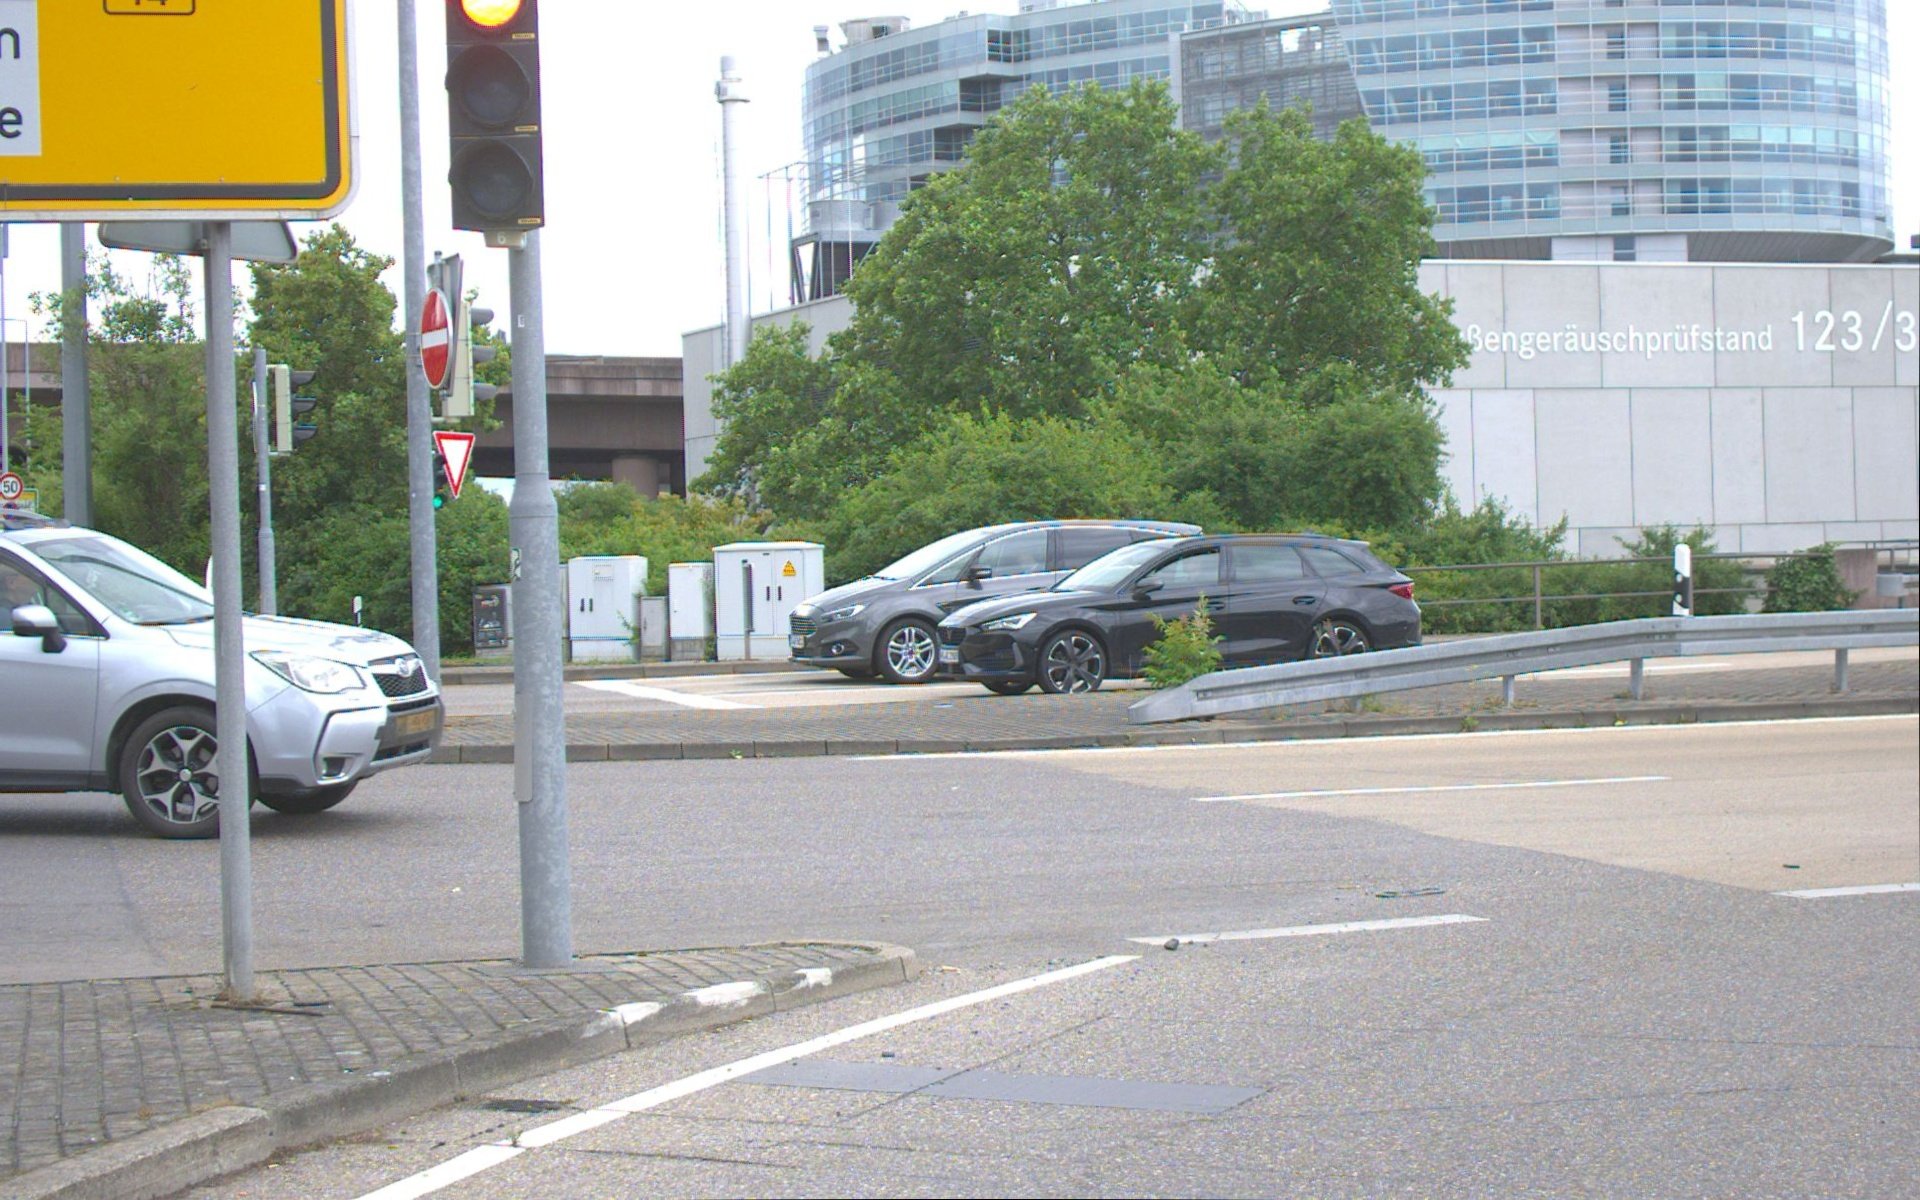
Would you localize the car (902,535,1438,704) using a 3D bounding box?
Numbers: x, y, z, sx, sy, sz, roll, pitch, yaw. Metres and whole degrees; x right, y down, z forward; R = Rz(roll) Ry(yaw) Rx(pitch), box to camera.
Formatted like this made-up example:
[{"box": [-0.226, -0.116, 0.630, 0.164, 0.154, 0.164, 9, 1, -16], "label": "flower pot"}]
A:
[{"box": [1.960, 0.138, 32.168, 4.604, 1.452, 1.956, -1, 2, -22], "label": "car"}]

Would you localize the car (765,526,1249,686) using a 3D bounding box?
[{"box": [0.473, 0.029, 35.982, 4.677, 1.566, 1.956, 0, 2, -18], "label": "car"}]

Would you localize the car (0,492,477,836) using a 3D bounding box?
[{"box": [-5.068, 0.311, 18.559, 4.543, 1.731, 1.729, 0, 1, 12], "label": "car"}]
